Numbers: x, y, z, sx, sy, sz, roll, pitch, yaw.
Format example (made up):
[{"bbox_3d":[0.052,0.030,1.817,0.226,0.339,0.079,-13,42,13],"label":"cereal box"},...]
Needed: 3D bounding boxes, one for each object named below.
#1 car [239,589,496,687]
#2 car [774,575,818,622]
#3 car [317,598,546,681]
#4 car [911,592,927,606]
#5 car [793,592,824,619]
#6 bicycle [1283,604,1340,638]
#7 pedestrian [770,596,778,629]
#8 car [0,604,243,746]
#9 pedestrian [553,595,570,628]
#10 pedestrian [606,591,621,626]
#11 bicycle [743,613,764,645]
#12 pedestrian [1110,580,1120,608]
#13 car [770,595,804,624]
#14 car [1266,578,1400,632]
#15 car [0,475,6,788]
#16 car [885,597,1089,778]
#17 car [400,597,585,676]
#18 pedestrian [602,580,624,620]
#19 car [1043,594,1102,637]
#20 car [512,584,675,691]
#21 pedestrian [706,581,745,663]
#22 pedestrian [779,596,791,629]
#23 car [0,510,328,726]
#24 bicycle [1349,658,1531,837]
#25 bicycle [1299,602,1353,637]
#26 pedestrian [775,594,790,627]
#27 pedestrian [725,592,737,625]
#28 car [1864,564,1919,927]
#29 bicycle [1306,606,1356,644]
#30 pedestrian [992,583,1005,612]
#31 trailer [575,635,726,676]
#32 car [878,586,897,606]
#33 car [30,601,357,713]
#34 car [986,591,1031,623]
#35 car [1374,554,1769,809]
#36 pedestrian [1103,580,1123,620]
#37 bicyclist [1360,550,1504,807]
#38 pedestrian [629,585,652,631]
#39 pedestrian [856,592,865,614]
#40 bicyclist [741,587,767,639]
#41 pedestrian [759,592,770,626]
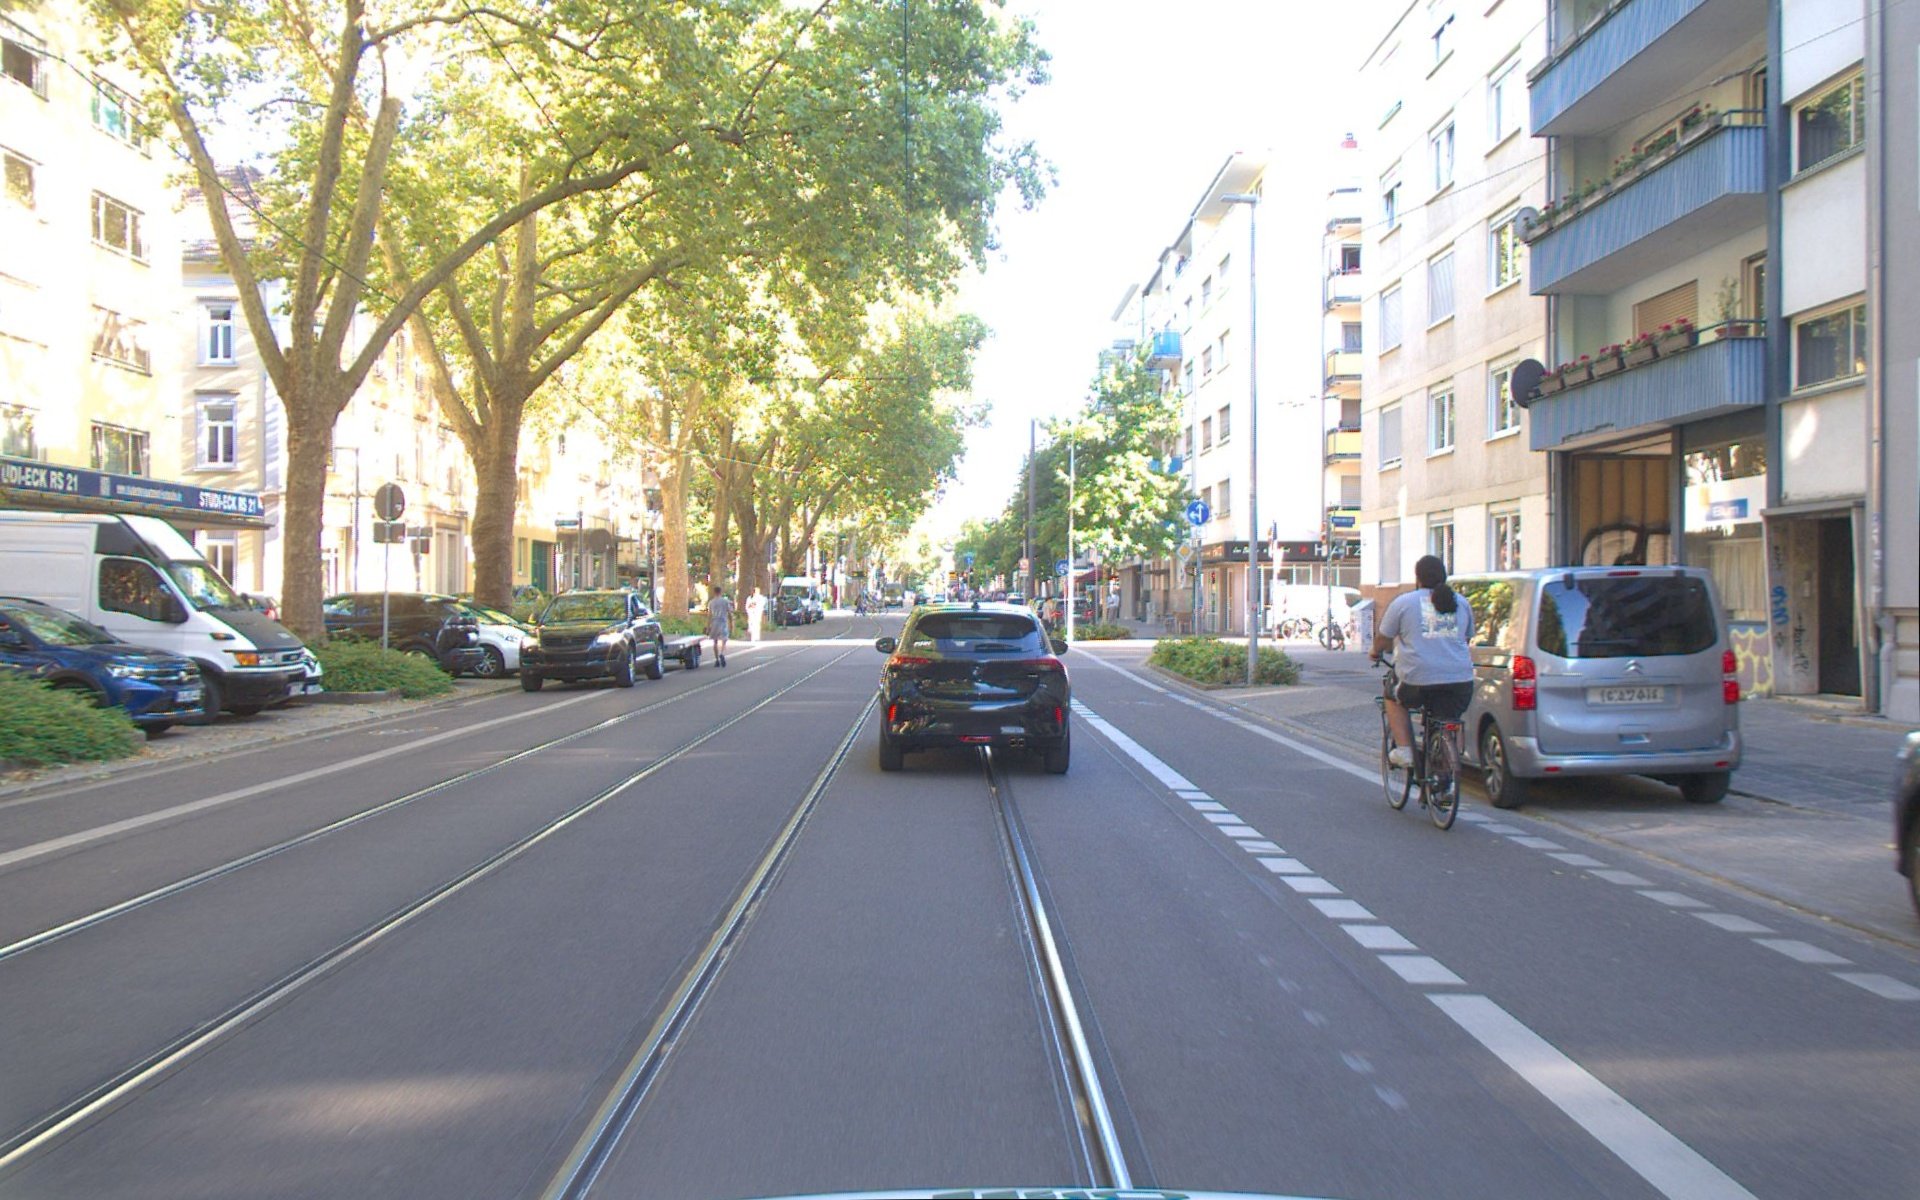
[{"bbox_3d":[-10.519,0.650,29.588,3.907,1.676,1.893,0,0,-2],"label":"car"},{"bbox_3d":[-9.519,-0.097,96.562,2.050,2.629,5.995,0,0,-1],"label":"car"},{"bbox_3d":[-10.250,0.744,32.275,3.907,1.548,1.770,0,0,-2],"label":"car"},{"bbox_3d":[-4.910,-0.100,198.815,1.714,1.680,4.000,0,0,1],"label":"car"},{"bbox_3d":[-9.843,0.344,107.032,1.955,1.747,3.995,0,0,-6],"label":"car"},{"bbox_3d":[11.857,0.707,55.865,1.797,1.136,0.703,0,0,2],"label":"bicycle"},{"bbox_3d":[-9.058,0.596,80.545,0.339,1.610,0.508,0,0,-2],"label":"pedestrian"},{"bbox_3d":[-10.397,0.802,18.492,3.937,1.491,1.872,0,0,0],"label":"car"},{"bbox_3d":[-17.664,0.505,73.358,0.540,1.427,0.649,0,0,3],"label":"pedestrian"},{"bbox_3d":[-16.861,0.406,80.422,0.540,1.681,0.649,0,0,3],"label":"pedestrian"},{"bbox_3d":[-6.782,0.948,54.341,0.510,0.979,1.928,0,0,-2],"label":"bicycle"},{"bbox_3d":[9.848,-0.364,105.047,0.616,1.763,0.632,0,0,5],"label":"pedestrian"},{"bbox_3d":[-9.412,0.497,90.071,1.719,1.534,3.997,0,0,-4],"label":"car"},{"bbox_3d":[13.307,0.166,59.146,4.273,1.863,1.998,0,0,-5],"label":"car"},{"bbox_3d":[-10.361,0.273,12.353,5.251,2.521,2.057,0,0,-1],"label":"car"},{"bbox_3d":[0.193,0.718,15.392,1.646,1.447,3.627,1,0,-1],"label":"car"},{"bbox_3d":[-9.617,0.734,34.247,3.363,1.557,1.786,0,0,-4],"label":"car"},{"bbox_3d":[-14.431,-0.010,68.757,0.830,1.661,0.643,0,0,-7],"label":"pedestrian"},{"bbox_3d":[4.340,0.572,64.365,1.684,1.601,4.081,0,0,-5],"label":"car"},{"bbox_3d":[-6.540,0.620,29.992,1.953,1.729,4.484,-2,0,-1],"label":"car"},{"bbox_3d":[-5.203,0.483,36.624,0.699,1.765,0.909,-2,0,-15],"label":"pedestrian"},{"bbox_3d":[-8.525,0.592,80.577,0.496,1.610,0.526,0,0,-1],"label":"pedestrian"},{"bbox_3d":[-10.893,0.214,21.125,4.846,2.612,2.081,0,0,-4],"label":"car"},{"bbox_3d":[3.426,1.012,11.983,0.687,1.111,1.989,2,0,-1],"label":"bicycle"},{"bbox_3d":[12.151,0.657,54.858,1.734,1.136,0.614,0,0,13],"label":"bicycle"},{"bbox_3d":[-8.700,0.512,81.202,0.670,1.610,0.557,0,0,-3],"label":"pedestrian"},{"bbox_3d":[-11.189,0.422,80.758,0.498,1.610,0.524,0,0,-17],"label":"pedestrian"},{"bbox_3d":[5.489,0.697,6.239,1.731,1.734,4.282,0,0,-2],"label":"car"},{"bbox_3d":[10.563,0.714,47.157,0.787,1.033,1.966,-1,0,-6],"label":"bicycle"},{"bbox_3d":[2.819,-0.193,121.222,0.839,2.048,1.069,-4,-1,0],"label":"pedestrian"},{"bbox_3d":[-6.486,1.148,35.443,2.117,0.643,6.399,0,0,-1],"label":"trailer"},{"bbox_3d":[-8.156,-0.466,185.687,1.954,2.250,5.097,0,0,-5],"label":"car"},{"bbox_3d":[-10.831,0.778,23.582,3.777,1.504,1.860,0,0,-2],"label":"car"},{"bbox_3d":[2.576,0.342,88.744,1.954,1.668,3.996,0,0,-4],"label":"car"},{"bbox_3d":[5.237,0.606,14.968,1.820,1.923,4.925,0,0,1],"label":"car"},{"bbox_3d":[6.923,-0.007,74.866,0.753,1.779,0.794,0,0,-5],"label":"pedestrian"},{"bbox_3d":[3.410,0.549,12.011,0.770,1.790,0.914,0,0,-1],"label":"bicyclist"},{"bbox_3d":[-13.375,0.324,69.245,0.887,1.901,0.643,0,0,-7],"label":"pedestrian"},{"bbox_3d":[-7.197,0.209,119.434,0.583,1.618,0.892,0,0,-8],"label":"pedestrian"},{"bbox_3d":[-6.772,0.426,54.320,0.769,1.707,0.957,0,0,-3],"label":"bicyclist"},{"bbox_3d":[-9.530,0.433,80.451,0.497,1.610,0.526,0,0,-5],"label":"pedestrian"}]
